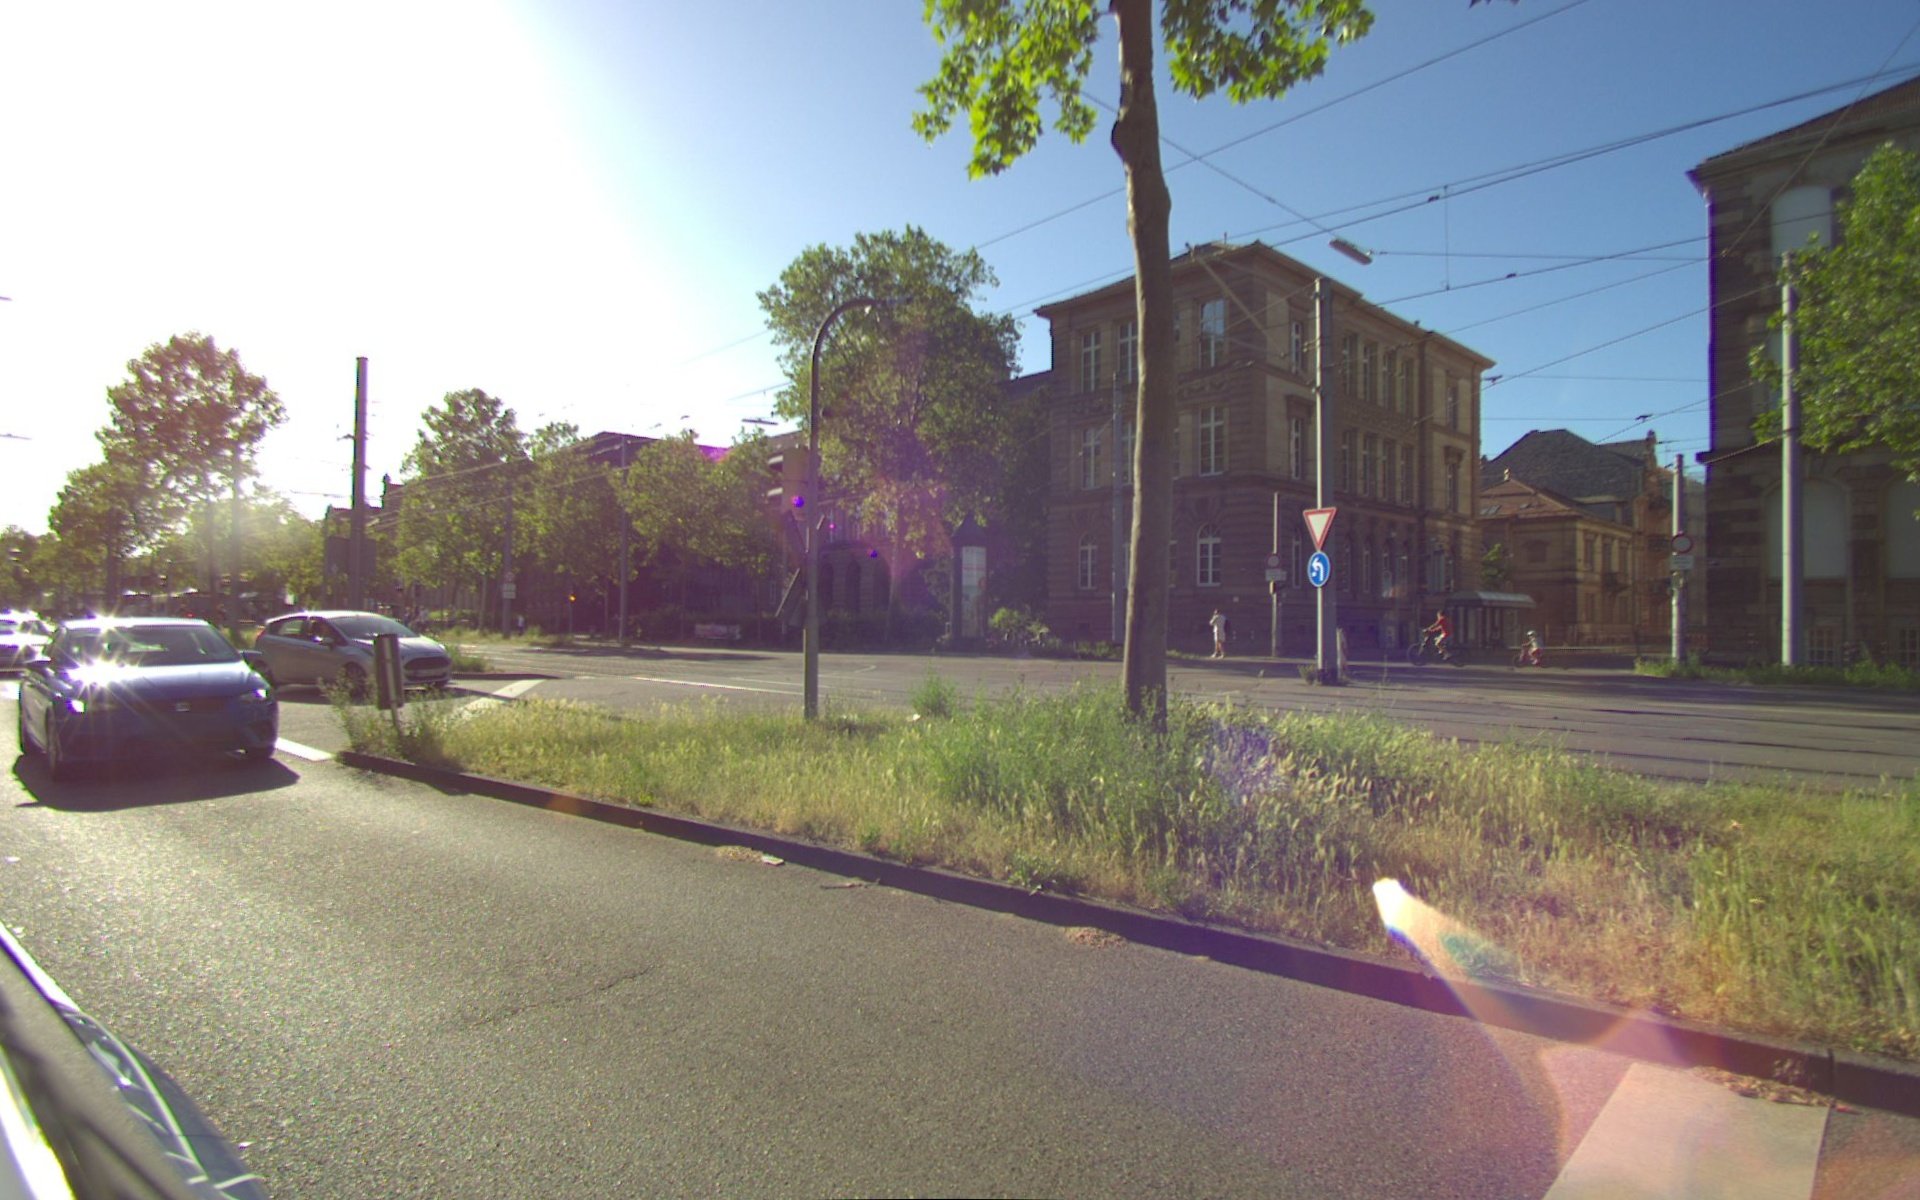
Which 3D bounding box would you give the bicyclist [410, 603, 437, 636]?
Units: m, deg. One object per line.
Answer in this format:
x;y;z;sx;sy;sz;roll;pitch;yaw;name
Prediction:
-27.676;0.993;52.215;0.827;1.656;0.964;-1;0;14;bicyclist

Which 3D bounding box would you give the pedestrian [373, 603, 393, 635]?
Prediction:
-30.854;1.021;54.090;0.693;1.689;0.591;-1;0;14;pedestrian

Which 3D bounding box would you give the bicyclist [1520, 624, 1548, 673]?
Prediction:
17.898;1.509;31.553;0.728;1.473;0.789;-1;0;32;bicyclist

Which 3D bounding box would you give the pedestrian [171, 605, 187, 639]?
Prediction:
-39.246;1.114;50.868;0.571;1.674;0.668;-1;0;-35;pedestrian

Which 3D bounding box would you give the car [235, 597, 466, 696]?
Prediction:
-10.935;0.785;18.149;3.839;1.607;1.654;-1;0;24;car

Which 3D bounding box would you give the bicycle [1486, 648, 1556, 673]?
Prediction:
17.569;1.889;31.687;1.894;0.727;0.521;-1;0;31;bicycle

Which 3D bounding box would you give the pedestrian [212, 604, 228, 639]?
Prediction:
-35.462;1.033;48.506;0.536;1.674;0.731;-1;0;-39;pedestrian

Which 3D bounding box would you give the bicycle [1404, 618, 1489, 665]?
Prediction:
15.243;1.287;31.761;2.347;1.399;0.520;-1;0;37;bicycle

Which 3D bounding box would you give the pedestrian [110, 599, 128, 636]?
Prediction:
-47.071;0.977;56.639;0.701;2.029;0.788;-1;0;-42;pedestrian

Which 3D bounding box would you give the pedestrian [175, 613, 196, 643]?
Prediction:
-33.102;1.188;43.253;0.425;1.242;0.587;-1;0;36;pedestrian

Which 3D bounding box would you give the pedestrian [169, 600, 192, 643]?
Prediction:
-33.549;0.904;43.563;0.503;1.820;0.639;-1;0;36;pedestrian

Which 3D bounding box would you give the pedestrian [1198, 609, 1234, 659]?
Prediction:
9.665;1.266;38.189;0.852;1.814;1.003;-1;0;-42;pedestrian

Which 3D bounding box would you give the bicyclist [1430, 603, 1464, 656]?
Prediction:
15.257;0.924;31.717;0.869;1.636;0.668;-1;-1;34;bicyclist

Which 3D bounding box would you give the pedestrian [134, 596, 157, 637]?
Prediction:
-44.870;0.893;55.740;0.773;2.204;0.803;-1;0;-23;pedestrian

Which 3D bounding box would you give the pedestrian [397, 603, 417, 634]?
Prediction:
-29.302;0.980;53.607;0.692;1.656;0.592;-1;0;10;pedestrian

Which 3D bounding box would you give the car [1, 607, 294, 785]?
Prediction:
-8.457;0.831;10.418;3.868;1.459;1.754;-1;0;42;car

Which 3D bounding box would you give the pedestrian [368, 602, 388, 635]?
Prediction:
-31.705;0.995;55.119;0.693;1.758;0.591;-1;0;14;pedestrian

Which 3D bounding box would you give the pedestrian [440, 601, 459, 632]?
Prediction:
-27.288;0.892;54.114;0.693;1.633;0.591;-1;0;14;pedestrian

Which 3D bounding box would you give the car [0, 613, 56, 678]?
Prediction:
-23.179;1.060;24.522;1.773;1.439;4.003;-1;1;-44;car

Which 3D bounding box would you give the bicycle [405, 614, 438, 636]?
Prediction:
-27.732;1.273;52.118;0.539;1.049;1.656;0;1;15;bicycle

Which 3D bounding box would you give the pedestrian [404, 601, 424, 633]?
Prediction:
-29.599;0.912;54.843;0.693;1.749;0.591;-1;0;14;pedestrian
